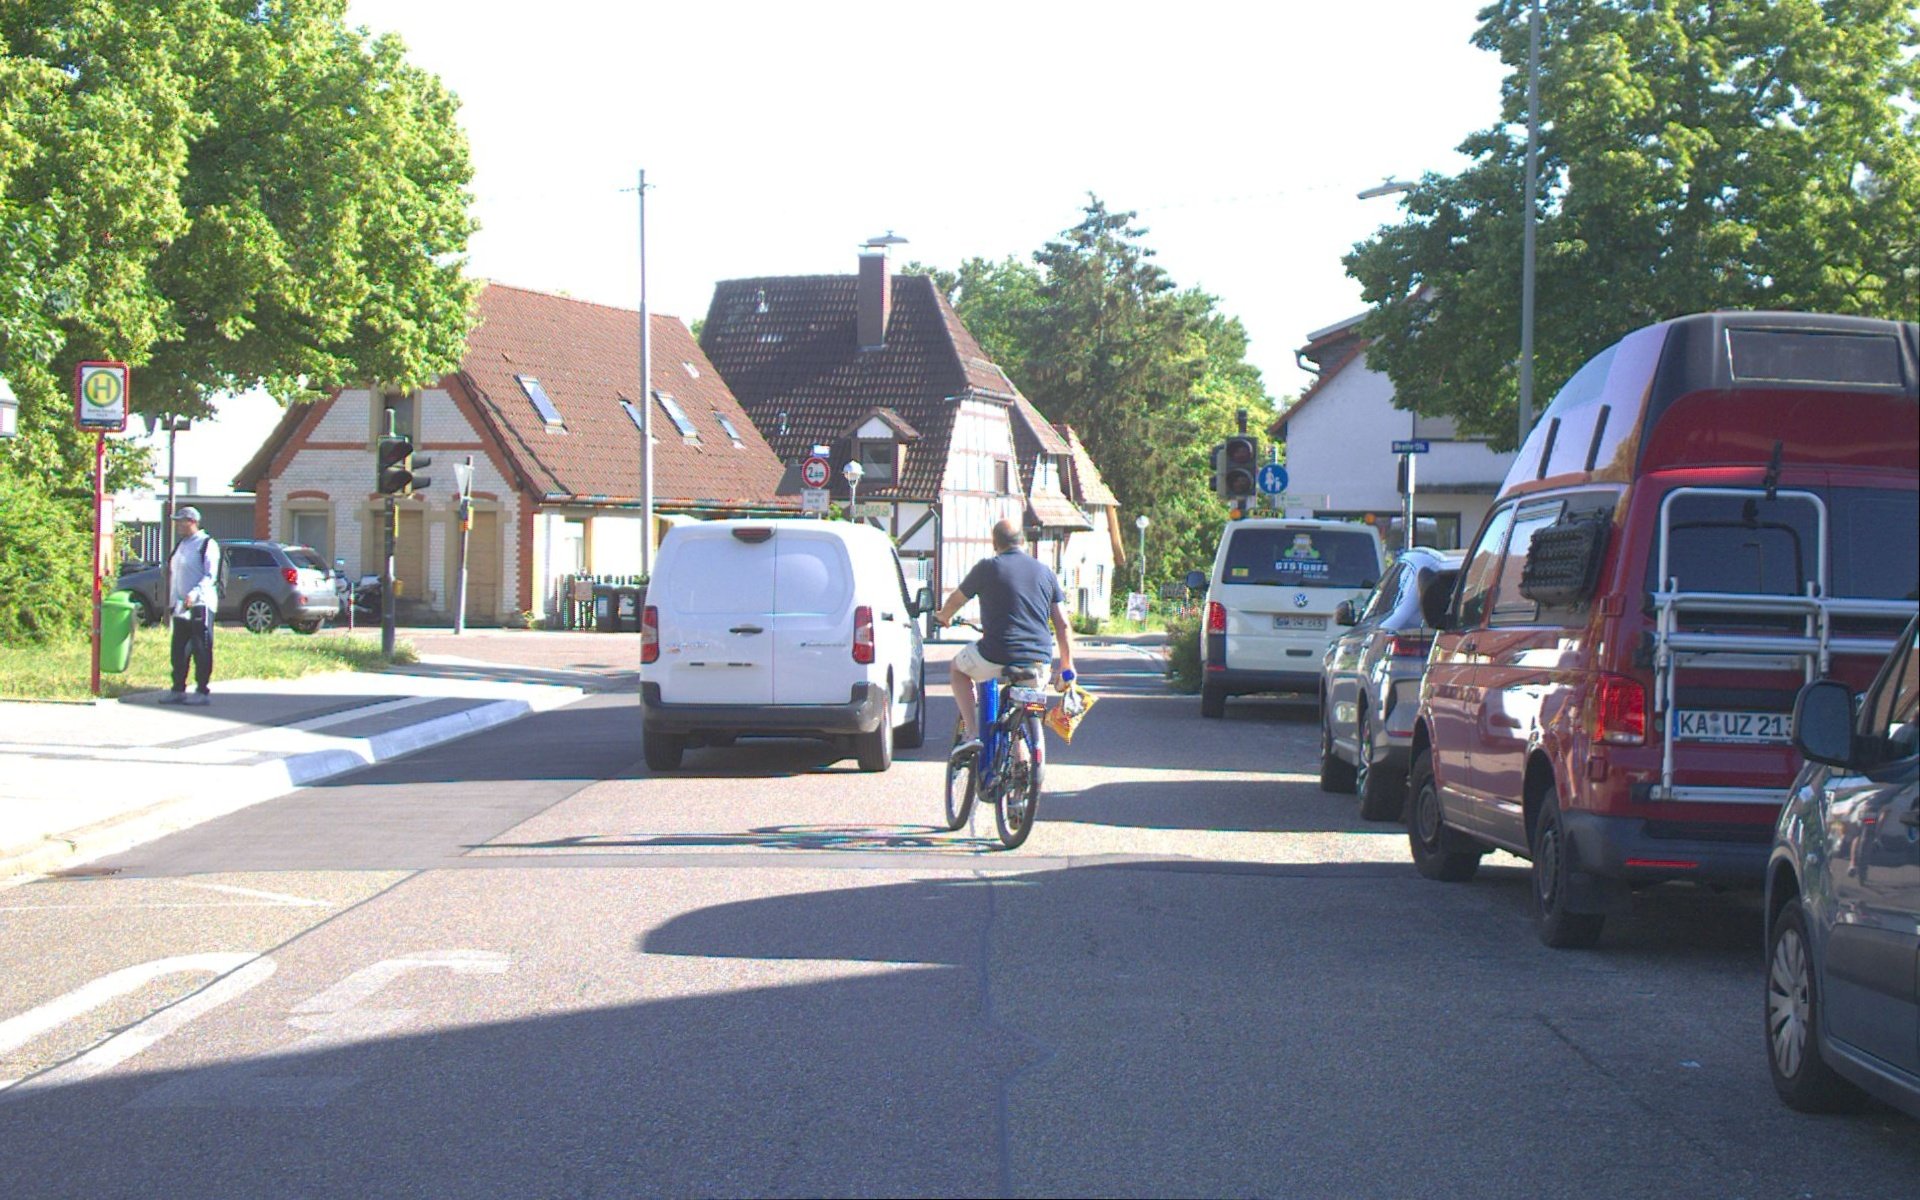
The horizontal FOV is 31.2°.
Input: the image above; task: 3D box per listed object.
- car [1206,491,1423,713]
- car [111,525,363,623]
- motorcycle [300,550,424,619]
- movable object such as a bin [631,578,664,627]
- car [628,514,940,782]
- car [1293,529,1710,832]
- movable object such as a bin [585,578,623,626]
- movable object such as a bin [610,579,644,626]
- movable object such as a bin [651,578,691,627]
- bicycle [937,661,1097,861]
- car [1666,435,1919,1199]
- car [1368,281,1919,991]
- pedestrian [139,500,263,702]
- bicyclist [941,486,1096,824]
[{"bbox_3d":[3.546,-0.002,35.099,1.994,2.072,4.577,1,1,4],"label":"car"},{"bbox_3d":[-13.565,-0.490,64.564,4.225,1.719,1.943,1,0,21],"label":"car"},{"bbox_3d":[-11.812,-0.312,67.934,2.244,1.291,0.882,1,4,21],"label":"motorcycle"},{"bbox_3d":[-6.111,0.046,67.179,0.411,0.921,0.625,1,1,20],"label":"movable object such as a bin"},{"bbox_3d":[-1.247,0.281,26.398,1.957,1.841,4.560,0,2,3],"label":"car"},{"bbox_3d":[3.405,0.430,22.502,1.957,1.732,4.577,1,1,0],"label":"car"},{"bbox_3d":[-6.992,0.037,67.540,0.508,0.921,0.625,1,1,20],"label":"movable object such as a bin"},{"bbox_3d":[-6.520,0.044,67.358,0.412,0.903,0.625,1,1,20],"label":"movable object such as a bin"},{"bbox_3d":[-5.629,0.048,67.000,0.556,0.921,0.625,1,1,20],"label":"movable object such as a bin"},{"bbox_3d":[0.286,0.848,18.820,0.774,0.937,2.291,0,1,-2],"label":"bicycle"},{"bbox_3d":[3.209,0.558,8.639,1.857,1.841,4.560,3,1,0],"label":"car"},{"bbox_3d":[3.253,0.092,15.539,1.957,2.635,5.224,2,1,-2],"label":"car"},{"bbox_3d":[-6.945,0.005,31.457,0.717,1.796,0.769,4,2,43],"label":"pedestrian"},{"bbox_3d":[0.308,0.283,18.723,0.764,1.782,0.853,1,1,-2],"label":"bicyclist"}]
